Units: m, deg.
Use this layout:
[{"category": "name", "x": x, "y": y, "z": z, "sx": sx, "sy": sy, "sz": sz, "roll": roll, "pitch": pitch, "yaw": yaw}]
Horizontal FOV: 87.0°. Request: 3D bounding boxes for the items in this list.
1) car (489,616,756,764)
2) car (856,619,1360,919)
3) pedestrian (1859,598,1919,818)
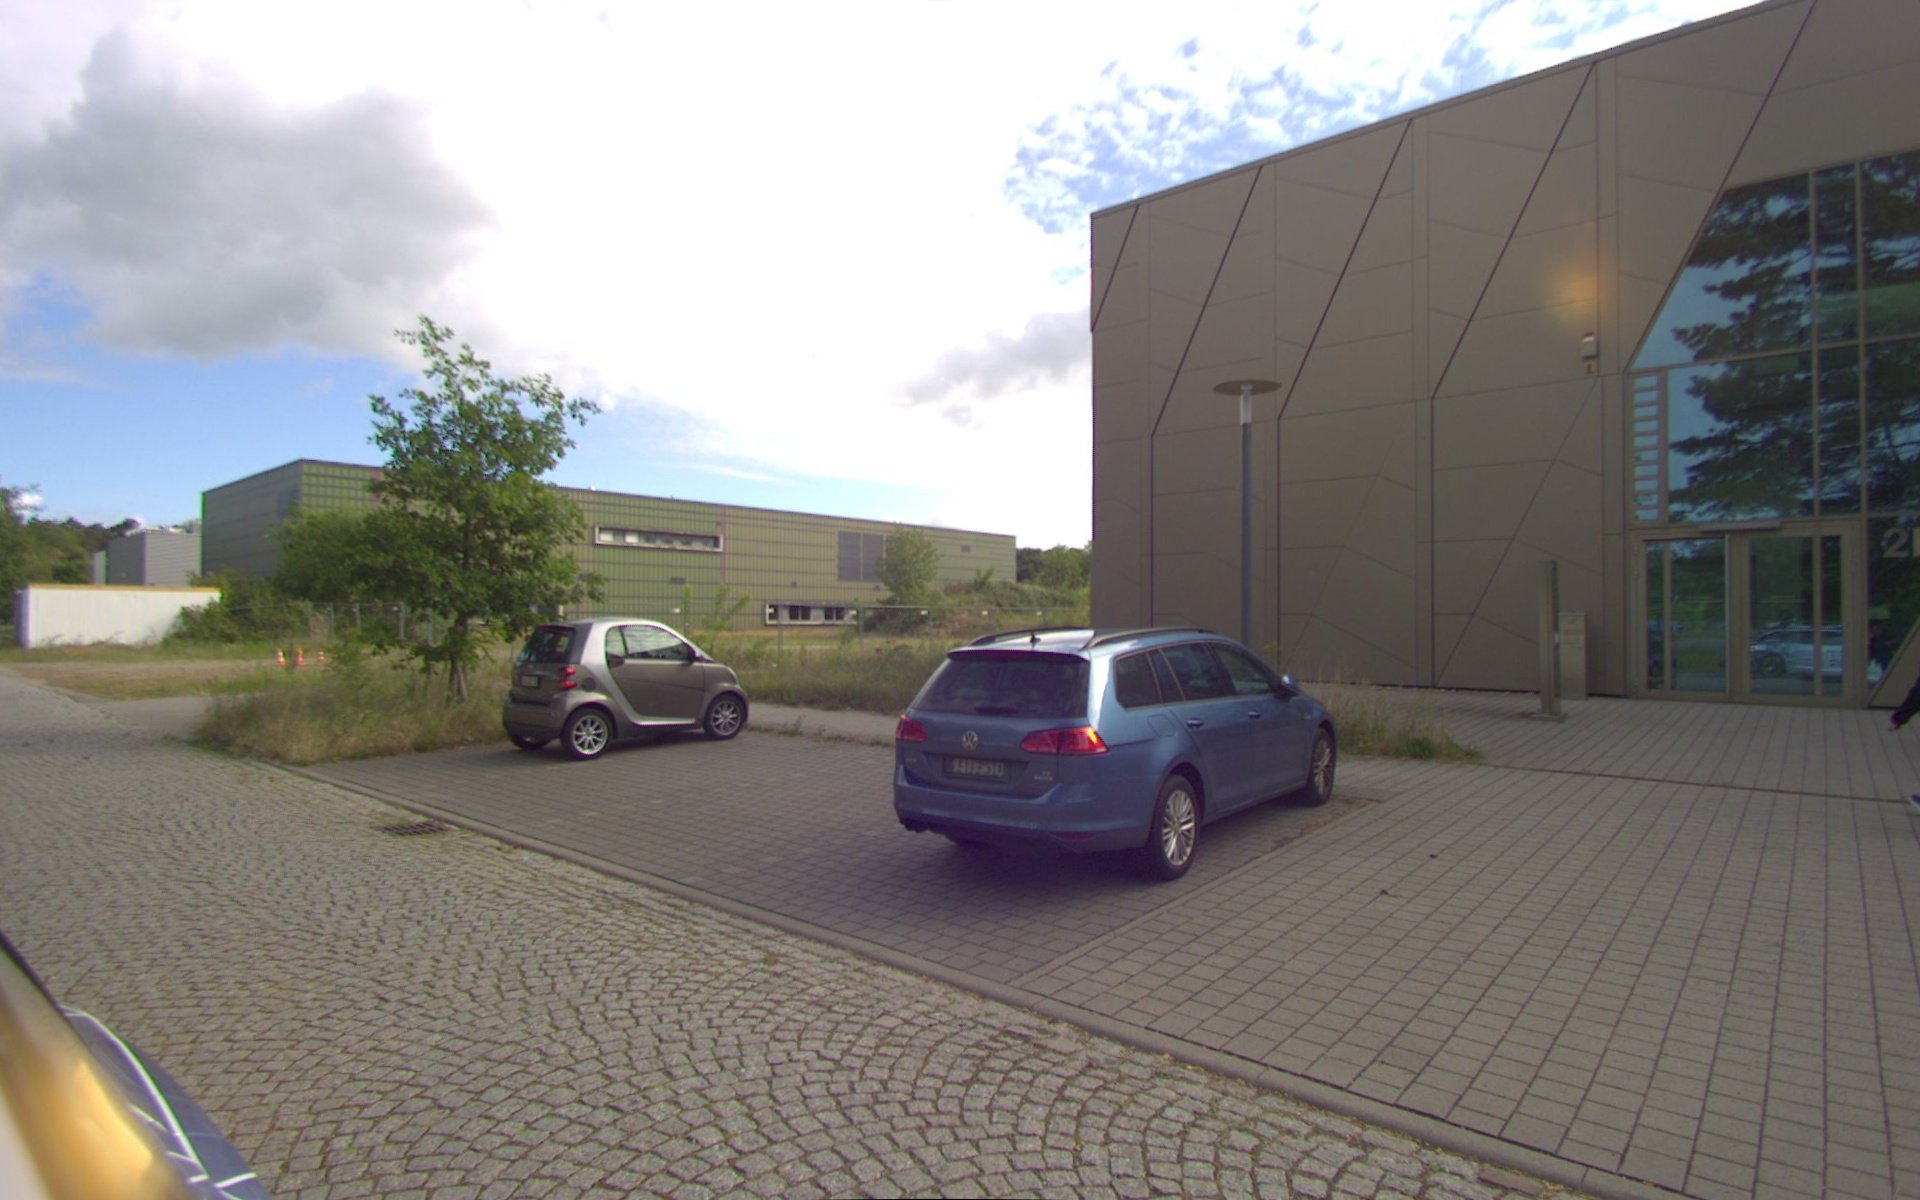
[{"category": "car", "x": -4.027, "y": 0.984, "z": 12.264, "sx": 1.609, "sy": 1.523, "sz": 2.627, "roll": -1, "pitch": -1, "yaw": 40}, {"category": "car", "x": 1.363, "y": 0.901, "z": 7.370, "sx": 1.771, "sy": 1.439, "sz": 4.264, "roll": -1, "pitch": -1, "yaw": 38}, {"category": "pedestrian", "x": 7.001, "y": 0.741, "z": 6.898, "sx": 0.806, "sy": 1.506, "sz": 0.988, "roll": 0, "pitch": -2, "yaw": -6}]
